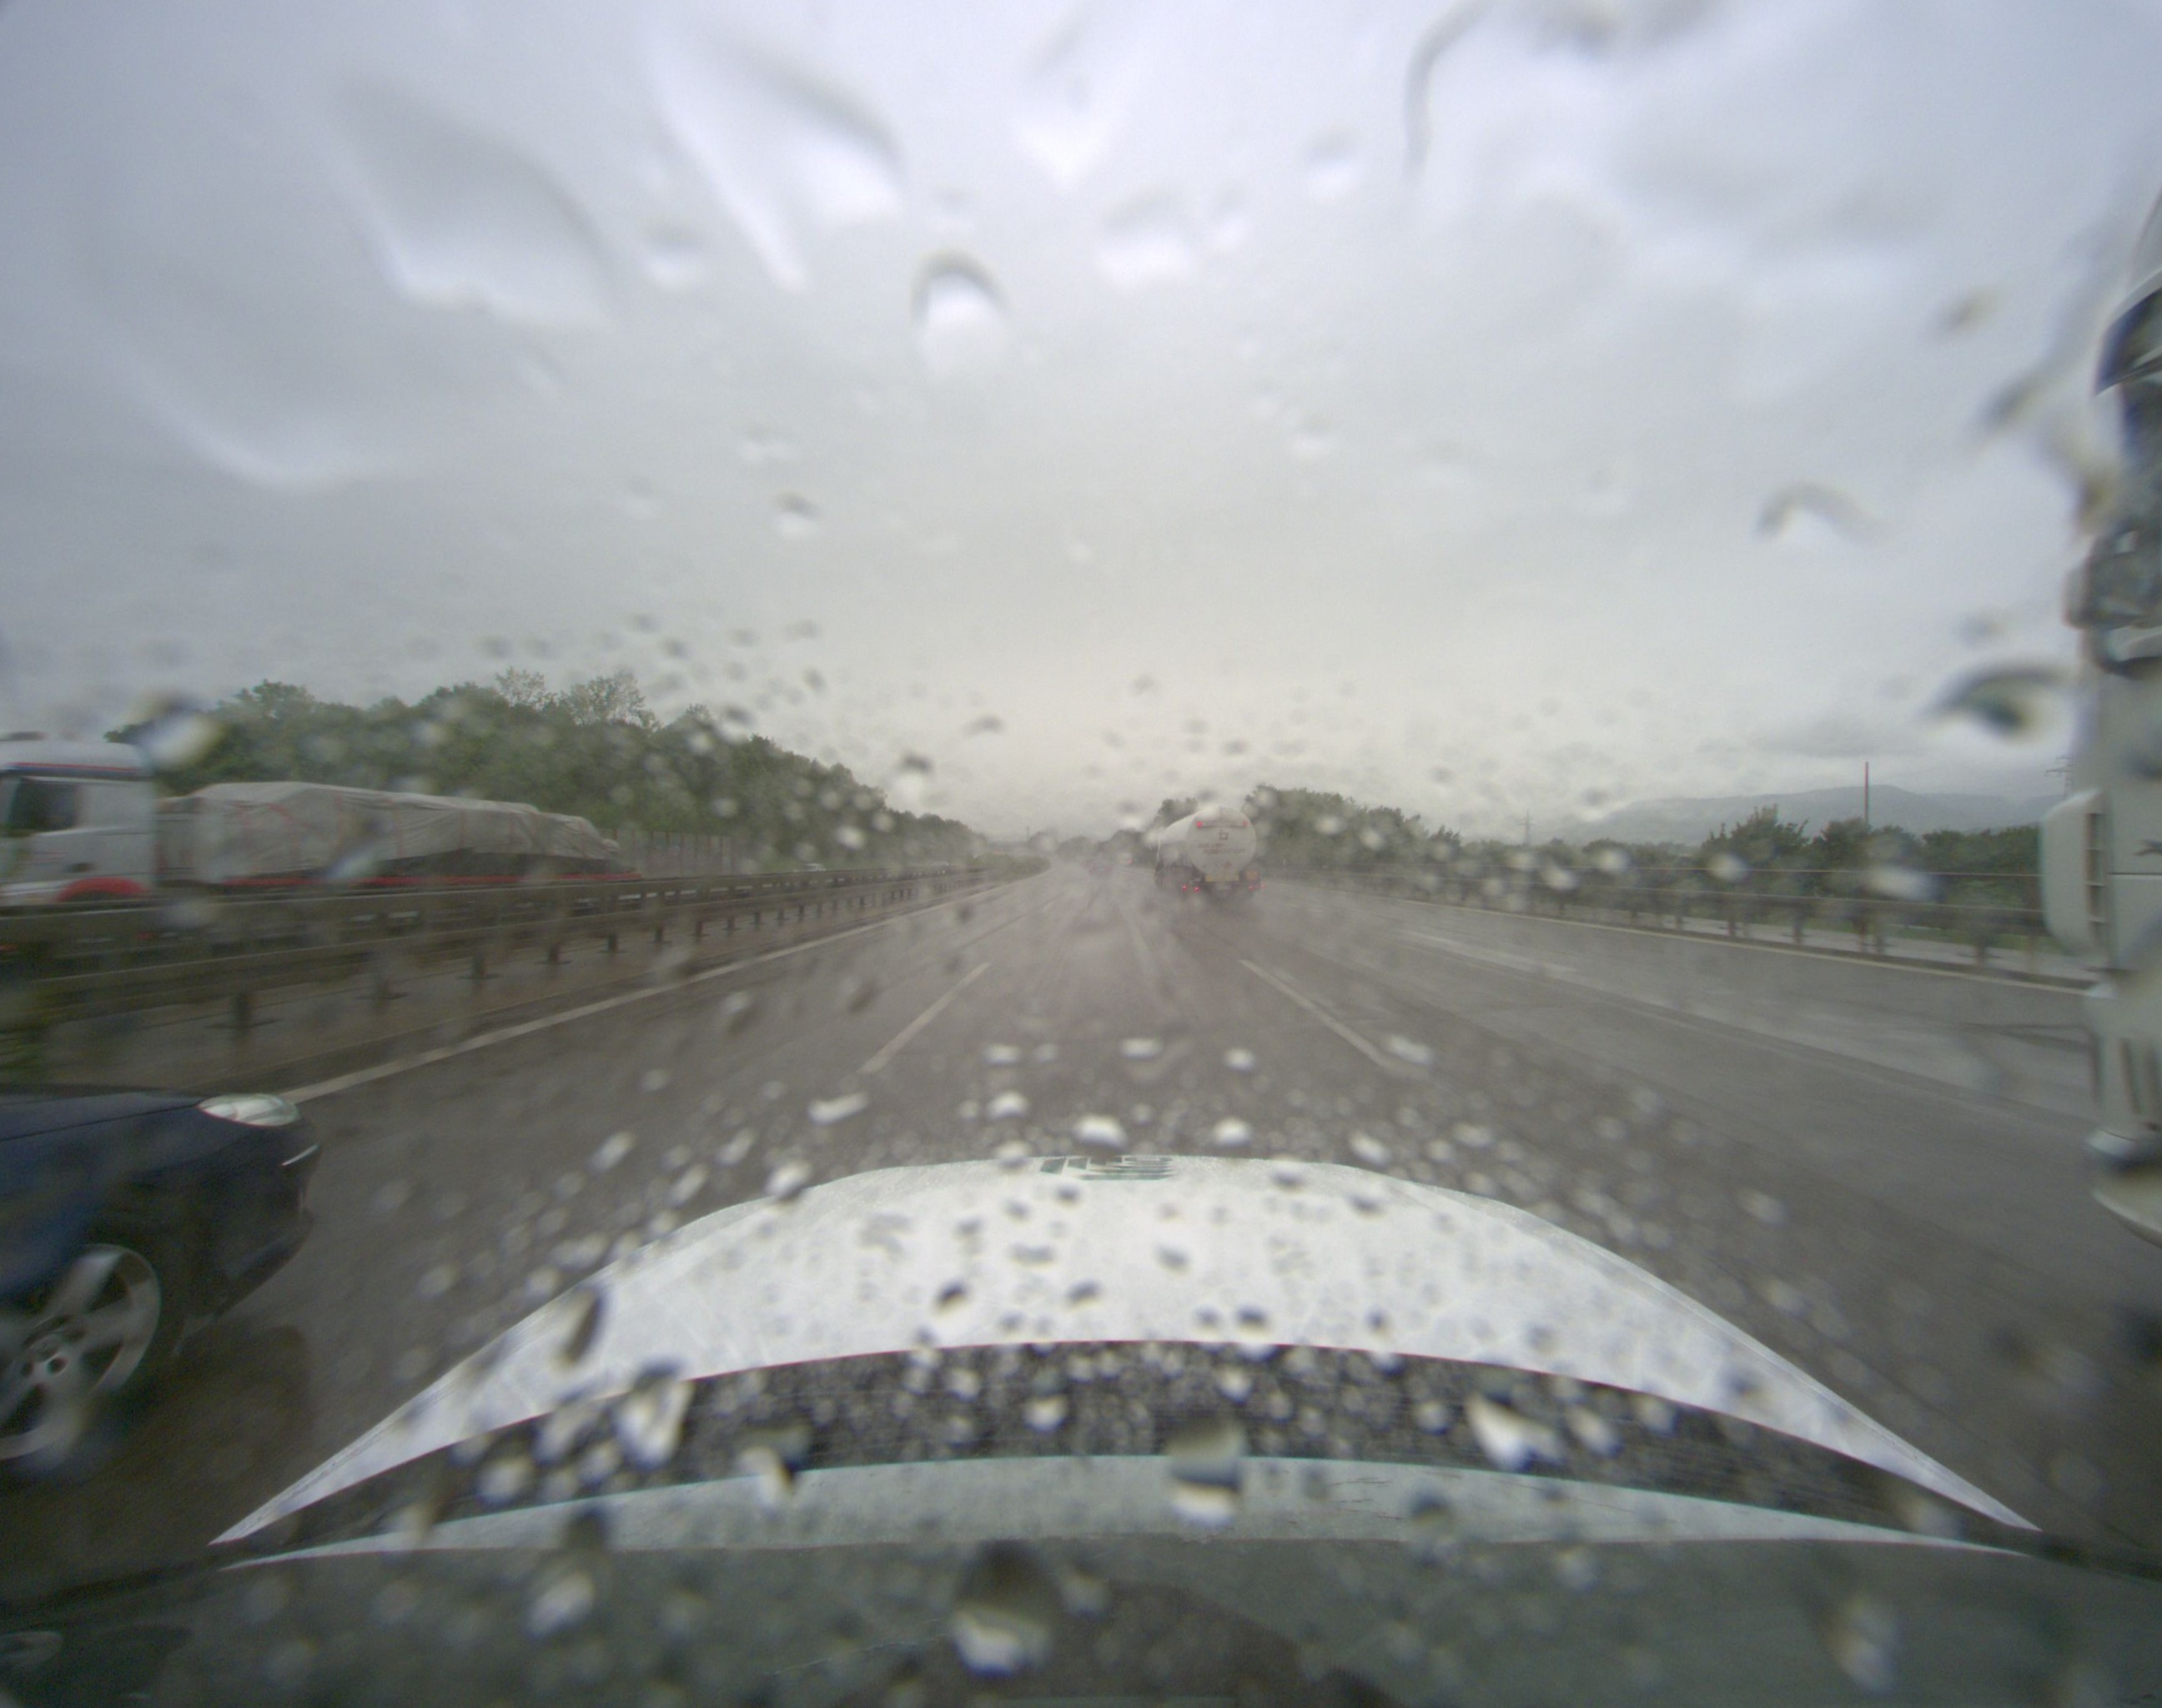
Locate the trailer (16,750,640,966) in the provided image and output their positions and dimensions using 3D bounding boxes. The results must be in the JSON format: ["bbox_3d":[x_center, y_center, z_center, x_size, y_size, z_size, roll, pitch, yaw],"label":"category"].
[{"bbox_3d":[-16.519,0.039,20.684,3.062,3.612,13.571,-1,0,1],"label":"trailer"}]

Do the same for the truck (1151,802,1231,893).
[{"bbox_3d":[4.875,-0.255,37.189,2.932,3.684,6.365,-2,0,2],"label":"truck"}]

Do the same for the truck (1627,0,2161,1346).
[{"bbox_3d":[4.342,-0.642,0.552,3.094,3.806,7.212,-1,0,1],"label":"truck"}]

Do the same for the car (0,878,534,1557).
[{"bbox_3d":[-3.533,0.885,0.998,2.046,1.485,5.161,-1,0,2],"label":"car"}]

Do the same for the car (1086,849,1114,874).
[{"bbox_3d":[1.382,0.509,61.321,1.972,1.756,4.481,-2,1,0],"label":"car"}]

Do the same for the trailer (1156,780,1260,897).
[{"bbox_3d":[4.665,-0.528,31.782,2.992,3.848,8.629,-2,0,3],"label":"trailer"}]

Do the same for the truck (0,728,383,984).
[{"bbox_3d":[-16.567,0.073,14.482,2.971,3.599,6.001,-1,0,1],"label":"truck"}]
